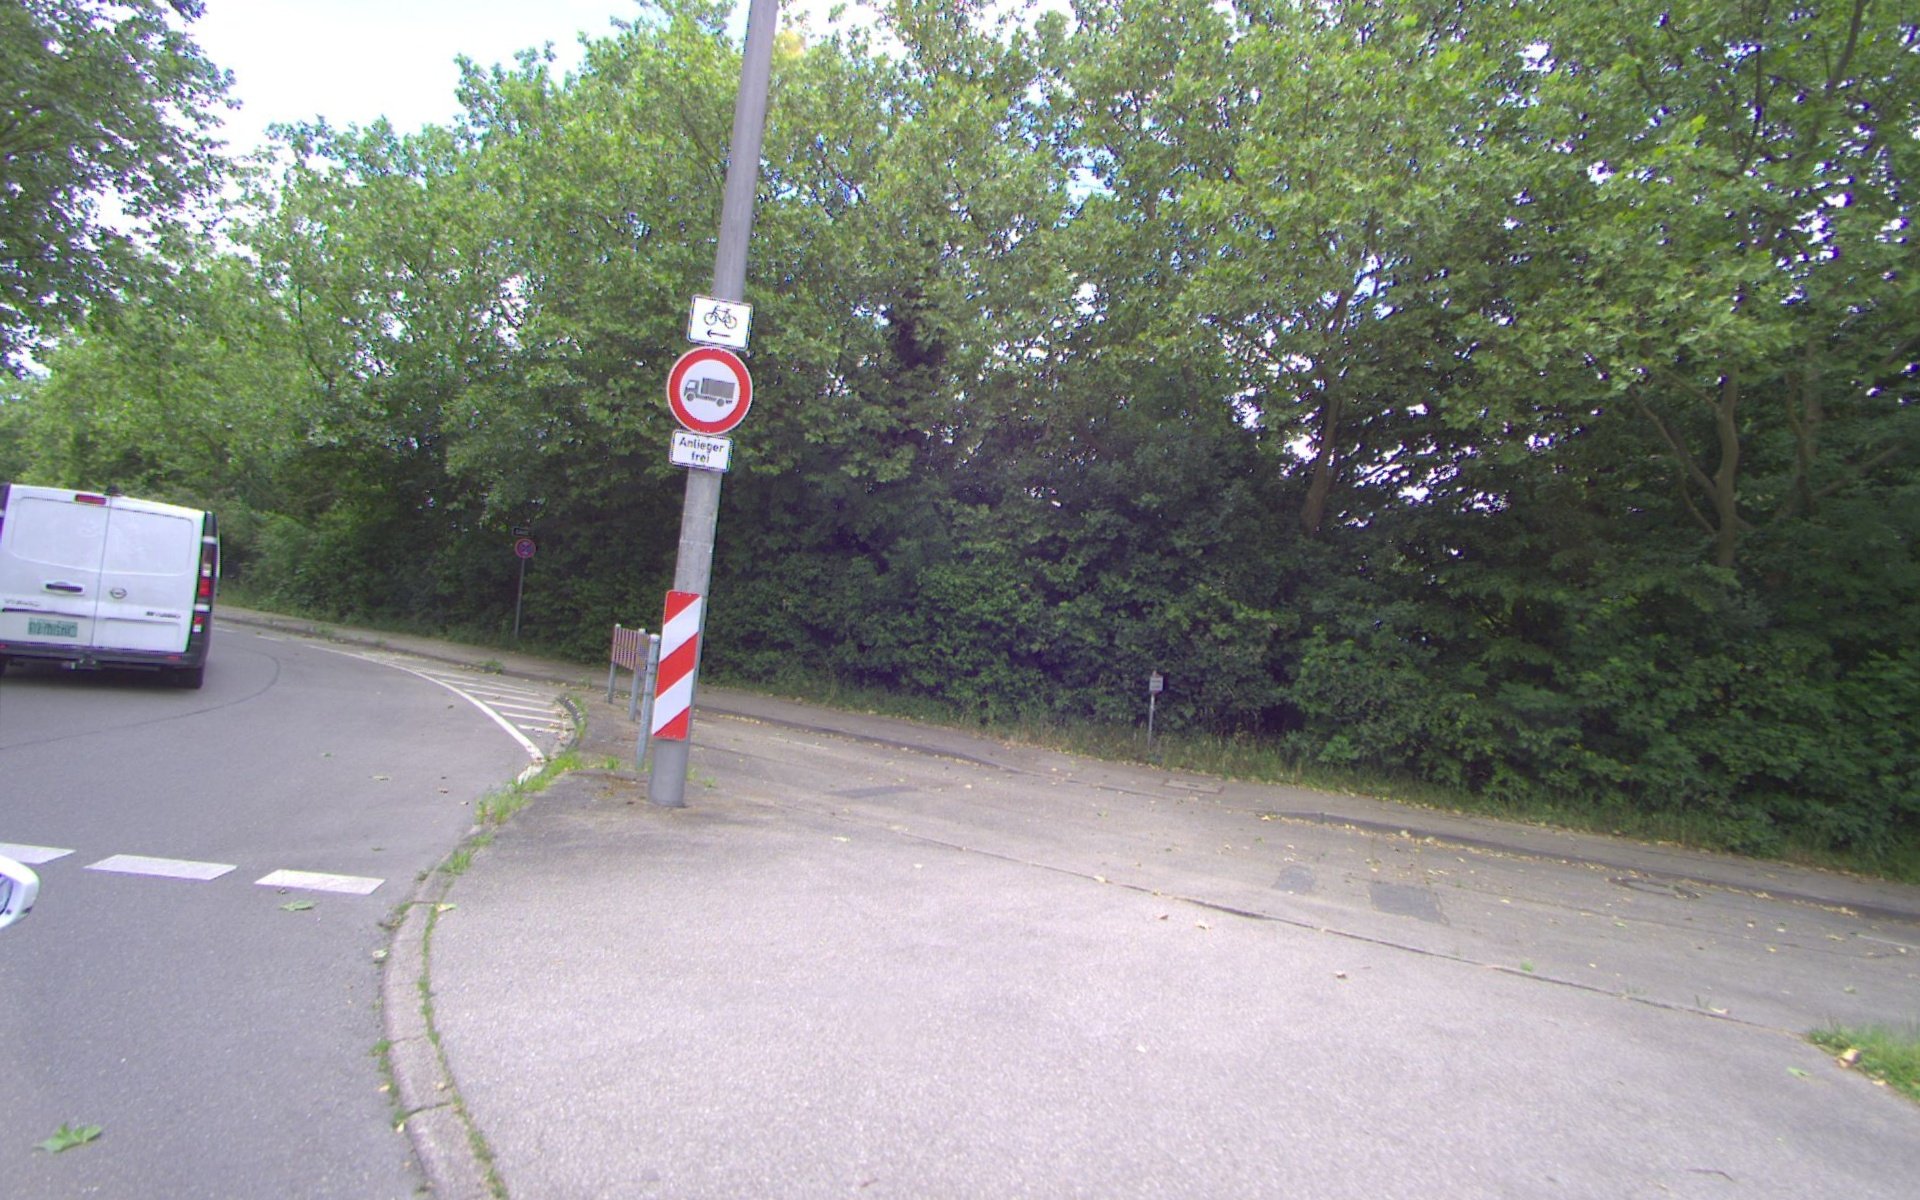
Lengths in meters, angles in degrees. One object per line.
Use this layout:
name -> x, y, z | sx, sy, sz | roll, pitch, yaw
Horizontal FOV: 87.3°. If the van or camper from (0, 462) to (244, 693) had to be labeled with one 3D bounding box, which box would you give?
van or camper -> -9.684, -0.324, 11.709 | 1.913, 2.038, 4.783 | 8, 0, -35
